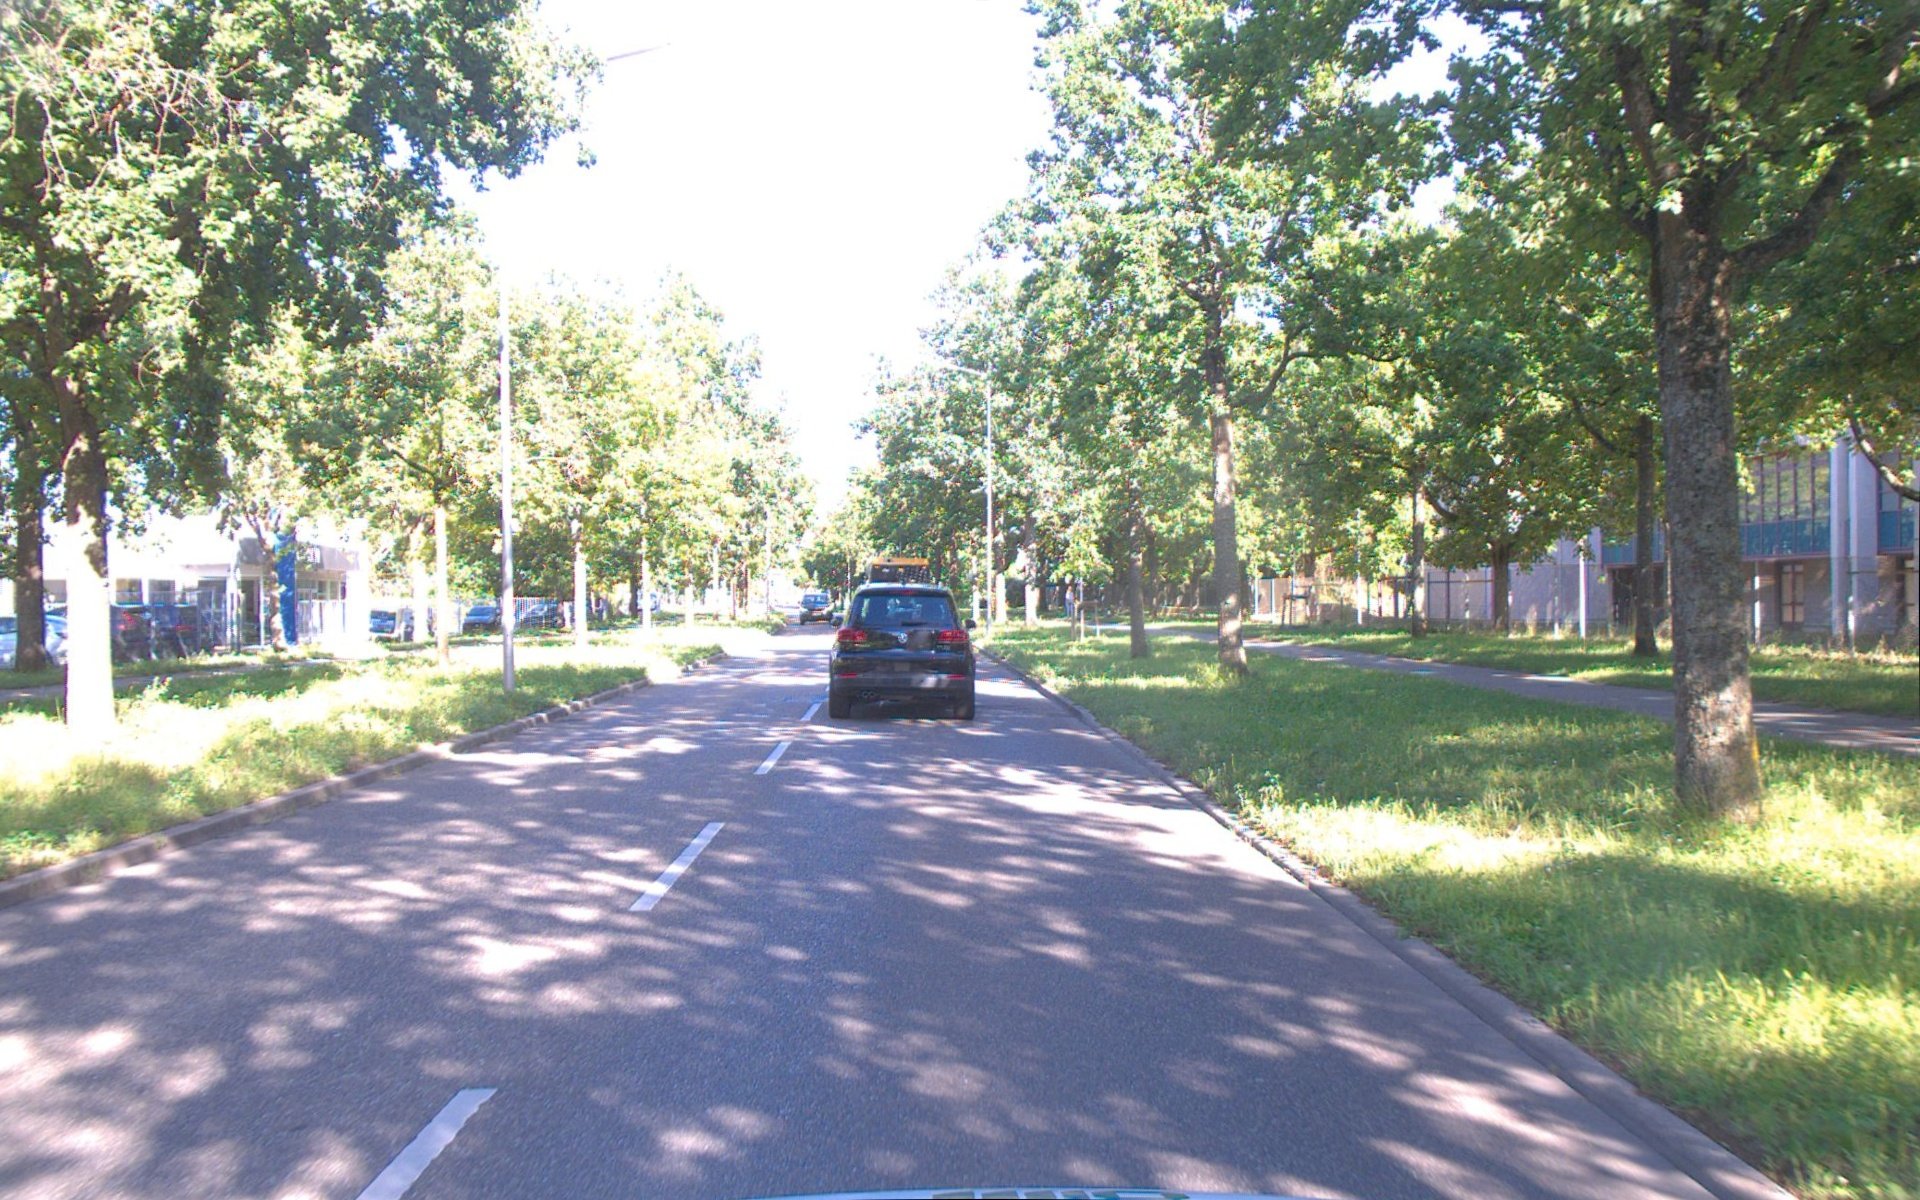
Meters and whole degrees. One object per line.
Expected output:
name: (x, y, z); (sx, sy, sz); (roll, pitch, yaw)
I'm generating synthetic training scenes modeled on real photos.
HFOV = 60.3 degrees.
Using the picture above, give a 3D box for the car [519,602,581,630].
car: (-27.377, 1.059, 110.540); (3.917, 1.833, 1.994); (1, 0, -12)

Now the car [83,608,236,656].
car: (-31.771, 1.244, 65.819); (1.959, 1.689, 5.243); (1, 1, 34)

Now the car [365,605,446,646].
car: (-20.863, 0.951, 62.250); (2.512, 1.495, 1.427); (-1, 0, 13)

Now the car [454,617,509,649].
car: (-26.362, 1.790, 91.294); (1.955, 1.625, 5.009); (1, 0, -5)

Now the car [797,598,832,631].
car: (-7.903, 0.795, 90.084); (1.733, 1.701, 4.196); (-2, 0, -4)

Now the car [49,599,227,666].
car: (-22.785, 0.889, 45.972); (3.906, 1.772, 2.000); (1, 0, -1)

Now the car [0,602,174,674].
car: (-22.883, 0.968, 43.063); (3.906, 1.776, 1.861); (1, 0, -2)

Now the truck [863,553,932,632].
truck: (-2.831, -0.307, 72.655); (2.464, 3.300, 8.141); (0, 0, -6)

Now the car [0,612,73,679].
car: (-24.086, 1.066, 39.996); (4.223, 1.545, 1.861); (1, 0, -2)

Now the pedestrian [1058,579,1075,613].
pedestrian: (5.257, -0.207, 81.500); (0.598, 1.659, 0.716); (-3, 1, -14)

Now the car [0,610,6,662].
car: (-31.886, 1.175, 52.079); (1.961, 1.719, 5.236); (1, 0, -16)

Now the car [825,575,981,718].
car: (-0.836, 0.563, 21.616); (1.748, 1.662, 3.995); (1, 0, -6)
